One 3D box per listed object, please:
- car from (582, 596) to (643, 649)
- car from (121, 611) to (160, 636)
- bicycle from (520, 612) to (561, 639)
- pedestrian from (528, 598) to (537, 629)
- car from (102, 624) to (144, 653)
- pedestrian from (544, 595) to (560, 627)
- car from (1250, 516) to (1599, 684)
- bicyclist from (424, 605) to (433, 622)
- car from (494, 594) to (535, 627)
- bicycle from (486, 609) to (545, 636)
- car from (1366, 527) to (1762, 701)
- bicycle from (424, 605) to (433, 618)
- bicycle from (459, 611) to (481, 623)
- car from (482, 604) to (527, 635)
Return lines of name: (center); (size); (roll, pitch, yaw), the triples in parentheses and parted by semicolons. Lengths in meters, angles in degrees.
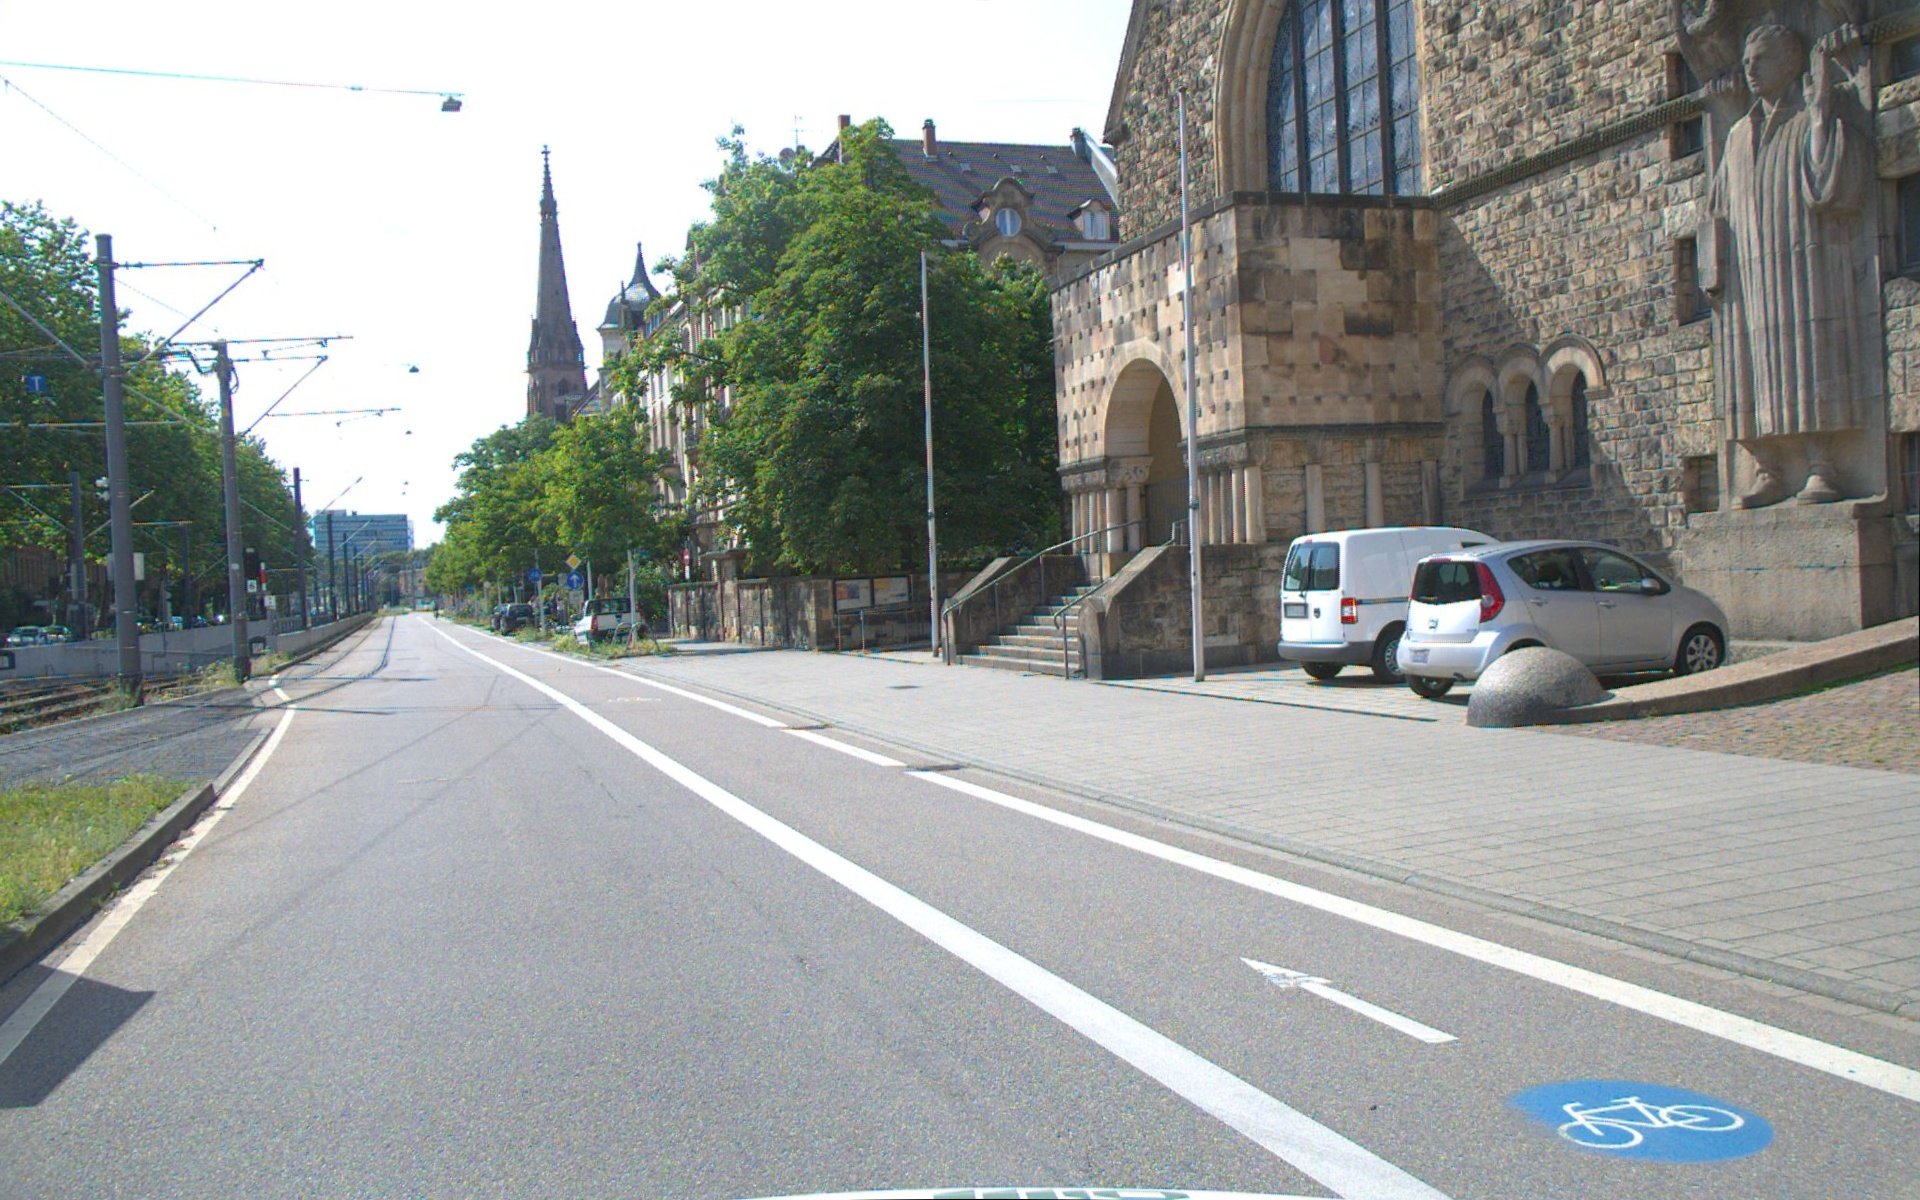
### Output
car: (-10.175, 0.621, 48.623); (1.638, 1.441, 3.834); (-1, 1, -11)
car: (-64.927, 1.853, 131.072); (1.963, 1.664, 3.981); (-6, 2, -17)
bicycle: (-18.825, 1.146, 74.209); (1.684, 1.088, 0.467); (-3, 0, -26)
pedestrian: (-24.393, 0.771, 94.410); (0.312, 1.736, 0.460); (-5, 1, -5)
car: (-59.652, 2.726, 117.935); (1.689, 1.720, 3.718); (-5, 2, -13)
pedestrian: (-23.547, 0.635, 95.464); (0.660, 1.835, 0.317); (-5, 2, -21)
car: (5.897, -0.042, 21.041); (3.947, 1.855, 1.851); (-3, 1, -22)
bicyclist: (-54.436, 1.377, 169.385); (0.759, 1.760, 1.021); (-3, 0, -19)
car: (-22.281, 0.509, 82.573); (1.660, 1.528, 4.683); (-2, 1, -18)
bicycle: (-23.854, 1.197, 88.870); (2.919, 1.268, 0.784); (-3, 1, -32)
car: (6.447, 0.104, 17.714); (3.713, 1.573, 1.787); (-3, 1, -21)
bicycle: (-54.437, 1.184, 169.347); (0.787, 1.258, 2.763); (-3, 1, -18)
bicycle: (-43.708, 1.499, 147.546); (1.792, 0.918, 0.647); (-6, 2, -23)
car: (-25.362, 1.082, 92.048); (1.774, 1.553, 4.458); (-5, 2, -22)
